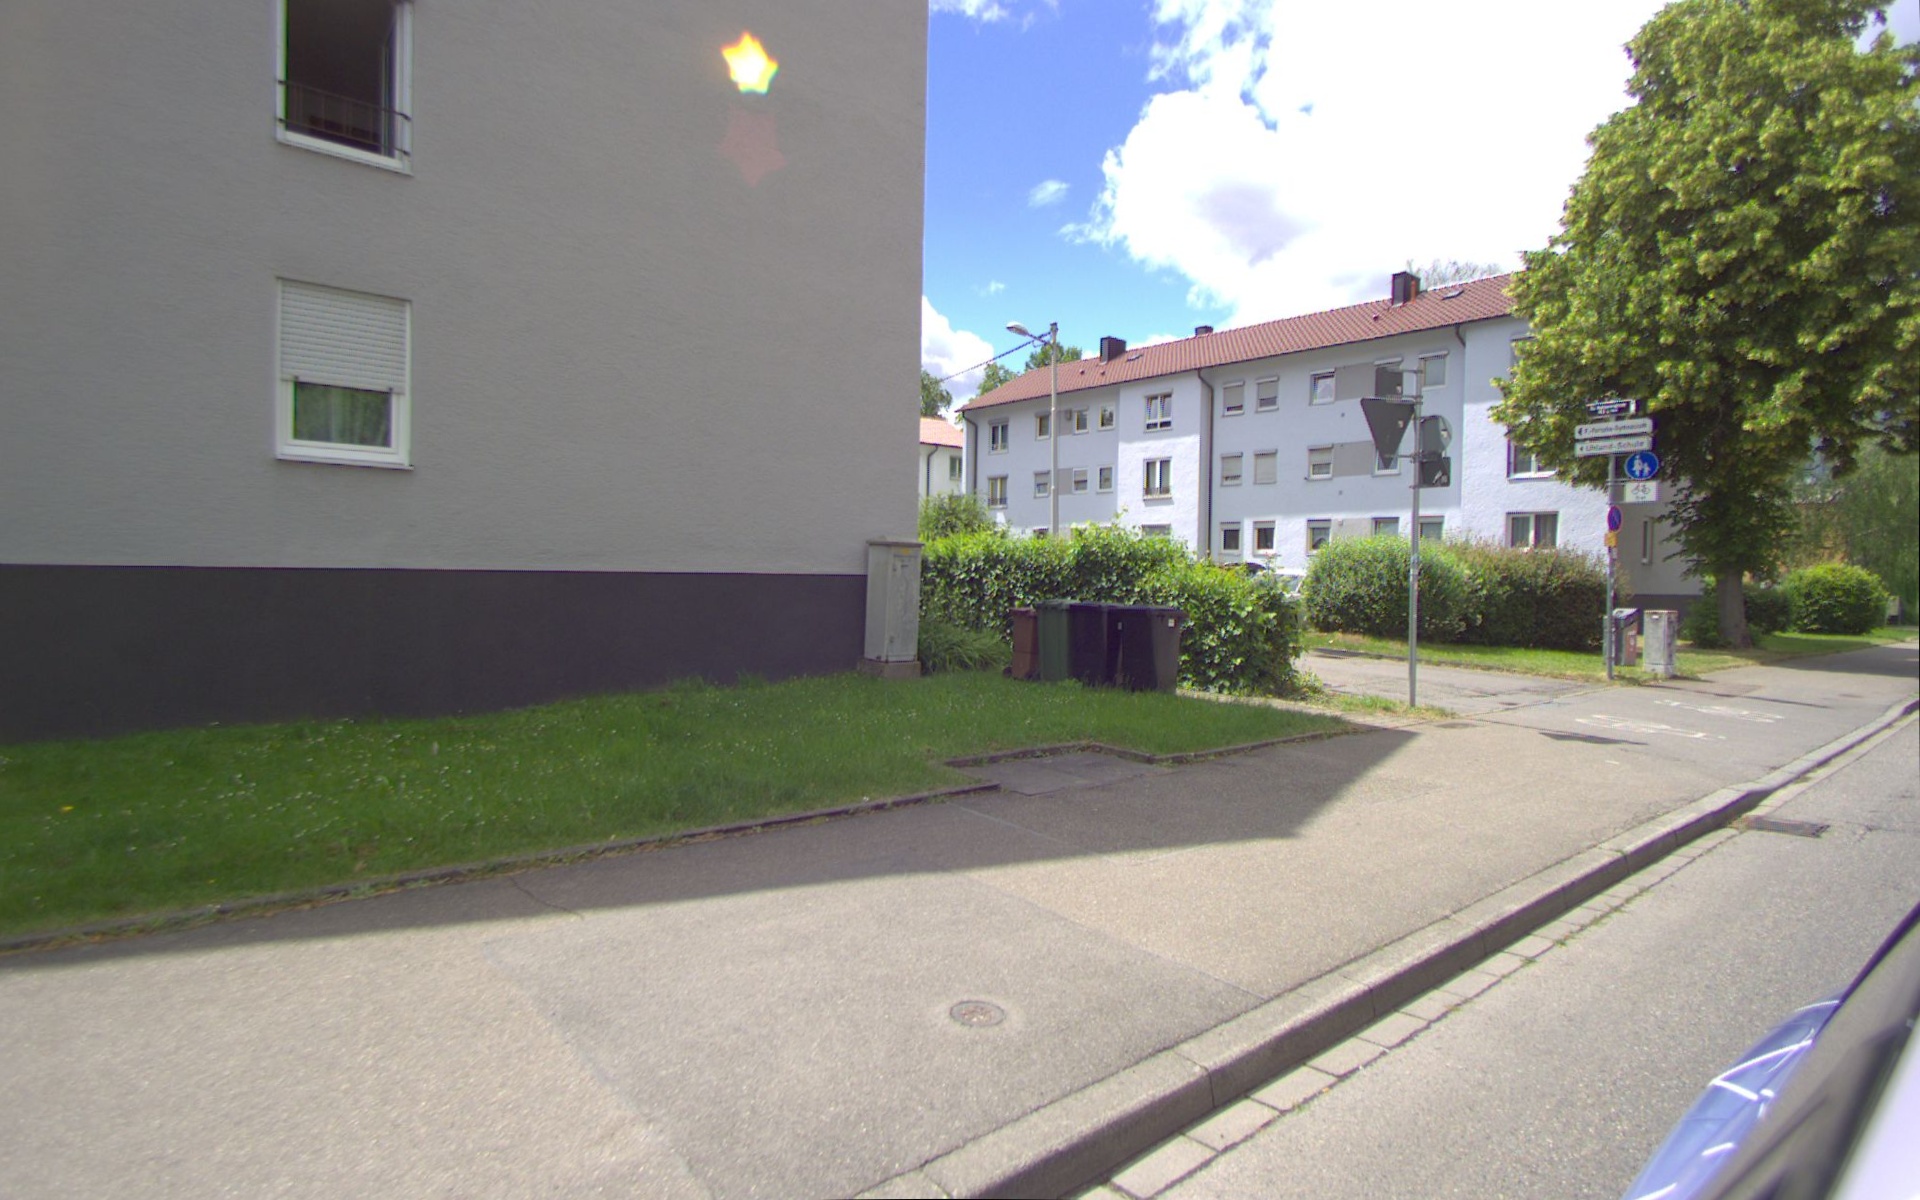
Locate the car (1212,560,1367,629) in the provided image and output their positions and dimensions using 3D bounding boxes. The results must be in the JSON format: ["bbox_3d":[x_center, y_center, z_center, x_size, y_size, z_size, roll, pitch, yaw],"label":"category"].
[{"bbox_3d":[7.456,-0.111,22.776,3.677,1.434,1.678,0,0,-41],"label":"car"}]

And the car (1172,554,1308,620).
[{"bbox_3d":[7.297,-0.317,26.217,3.677,1.588,1.678,0,0,-41],"label":"car"}]

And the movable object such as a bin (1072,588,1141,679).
[{"bbox_3d":[1.628,0.360,11.248,0.541,0.959,0.501,0,2,-41],"label":"movable object such as a bin"}]

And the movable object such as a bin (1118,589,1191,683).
[{"bbox_3d":[2.095,0.374,10.914,0.570,0.966,0.497,0,2,-41],"label":"movable object such as a bin"}]
